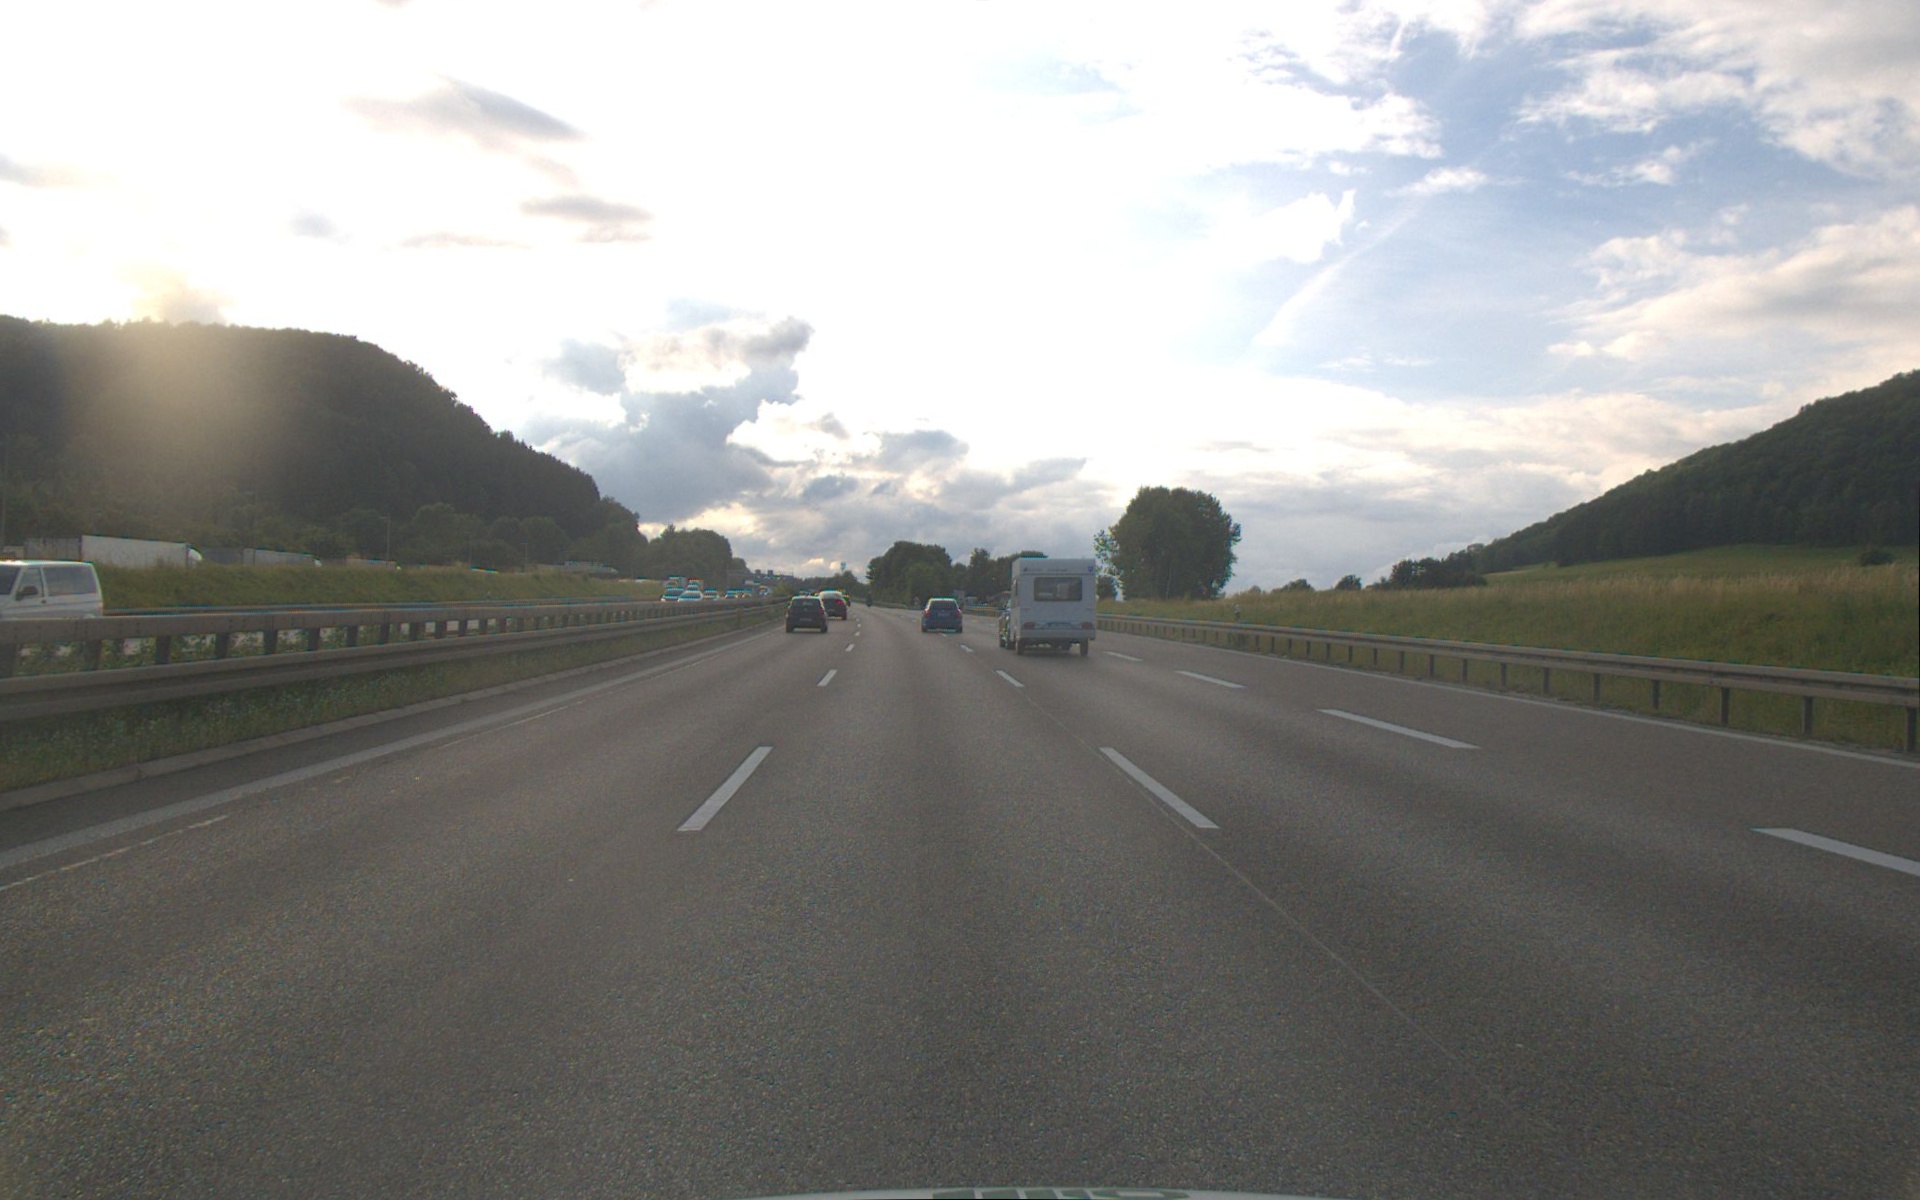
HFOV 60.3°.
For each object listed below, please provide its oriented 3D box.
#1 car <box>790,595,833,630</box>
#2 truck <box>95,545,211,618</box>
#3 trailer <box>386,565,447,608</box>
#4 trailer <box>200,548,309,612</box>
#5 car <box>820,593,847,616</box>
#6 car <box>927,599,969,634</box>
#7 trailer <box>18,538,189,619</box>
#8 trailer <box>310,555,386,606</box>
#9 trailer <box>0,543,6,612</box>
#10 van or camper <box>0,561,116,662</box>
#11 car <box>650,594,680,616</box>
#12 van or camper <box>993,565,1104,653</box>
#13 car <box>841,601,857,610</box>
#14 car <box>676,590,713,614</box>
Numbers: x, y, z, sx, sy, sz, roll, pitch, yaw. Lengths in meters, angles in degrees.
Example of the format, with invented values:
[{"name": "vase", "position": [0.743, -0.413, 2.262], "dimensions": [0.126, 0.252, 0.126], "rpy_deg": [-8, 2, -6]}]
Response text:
[{"name": "car", "position": [-6.116, 0.512, 68.354], "dimensions": [1.507, 1.371, 3.675], "rpy_deg": [-1, 0, -2]}, {"name": "truck", "position": [-43.785, -0.949, 90.000], "dimensions": [2.825, 3.755, 8.483], "rpy_deg": [0, 0, -5]}, {"name": "trailer", "position": [-49.180, -1.209, 149.952], "dimensions": [2.821, 3.761, 10.362], "rpy_deg": [0, 0, -5]}, {"name": "trailer", "position": [-45.257, -1.185, 106.664], "dimensions": [2.823, 3.761, 13.653], "rpy_deg": [-1, -1, -7]}, {"name": "car", "position": [-7.755, 0.252, 101.521], "dimensions": [1.534, 1.404, 3.998], "rpy_deg": [0, 0, -3]}, {"name": "car", "position": [-0.544, 0.707, 71.547], "dimensions": [1.731, 1.458, 3.998], "rpy_deg": [-1, 0, -2]}, {"name": "trailer", "position": [-43.201, -0.985, 84.080], "dimensions": [2.821, 3.761, 13.659], "rpy_deg": [-1, 0, -6]}, {"name": "trailer", "position": [-47.129, -1.478, 127.688], "dimensions": [2.821, 3.761, 10.362], "rpy_deg": [0, 0, -5]}, {"name": "trailer", "position": [-41.708, -1.039, 66.748], "dimensions": [2.560, 2.903, 7.298], "rpy_deg": [1, -1, -4]}, {"name": "van or camper", "position": [-19.233, 0.218, 33.621], "dimensions": [1.877, 1.906, 4.753], "rpy_deg": [0, 0, -2]}, {"name": "car", "position": [-23.104, 0.418, 129.703], "dimensions": [1.771, 1.642, 4.338], "rpy_deg": [1, -1, -3]}, {"name": "van or camper", "position": [2.366, 0.232, 45.949], "dimensions": [2.497, 2.278, 5.325], "rpy_deg": [0, 0, -3]}, {"name": "car", "position": [-15.407, 0.747, 229.566], "dimensions": [1.719, 1.243, 3.991], "rpy_deg": [0, 0, -10]}, {"name": "car", "position": [-17.864, 0.090, 111.413], "dimensions": [1.804, 1.557, 4.214], "rpy_deg": [-1, 0, -1]}]
